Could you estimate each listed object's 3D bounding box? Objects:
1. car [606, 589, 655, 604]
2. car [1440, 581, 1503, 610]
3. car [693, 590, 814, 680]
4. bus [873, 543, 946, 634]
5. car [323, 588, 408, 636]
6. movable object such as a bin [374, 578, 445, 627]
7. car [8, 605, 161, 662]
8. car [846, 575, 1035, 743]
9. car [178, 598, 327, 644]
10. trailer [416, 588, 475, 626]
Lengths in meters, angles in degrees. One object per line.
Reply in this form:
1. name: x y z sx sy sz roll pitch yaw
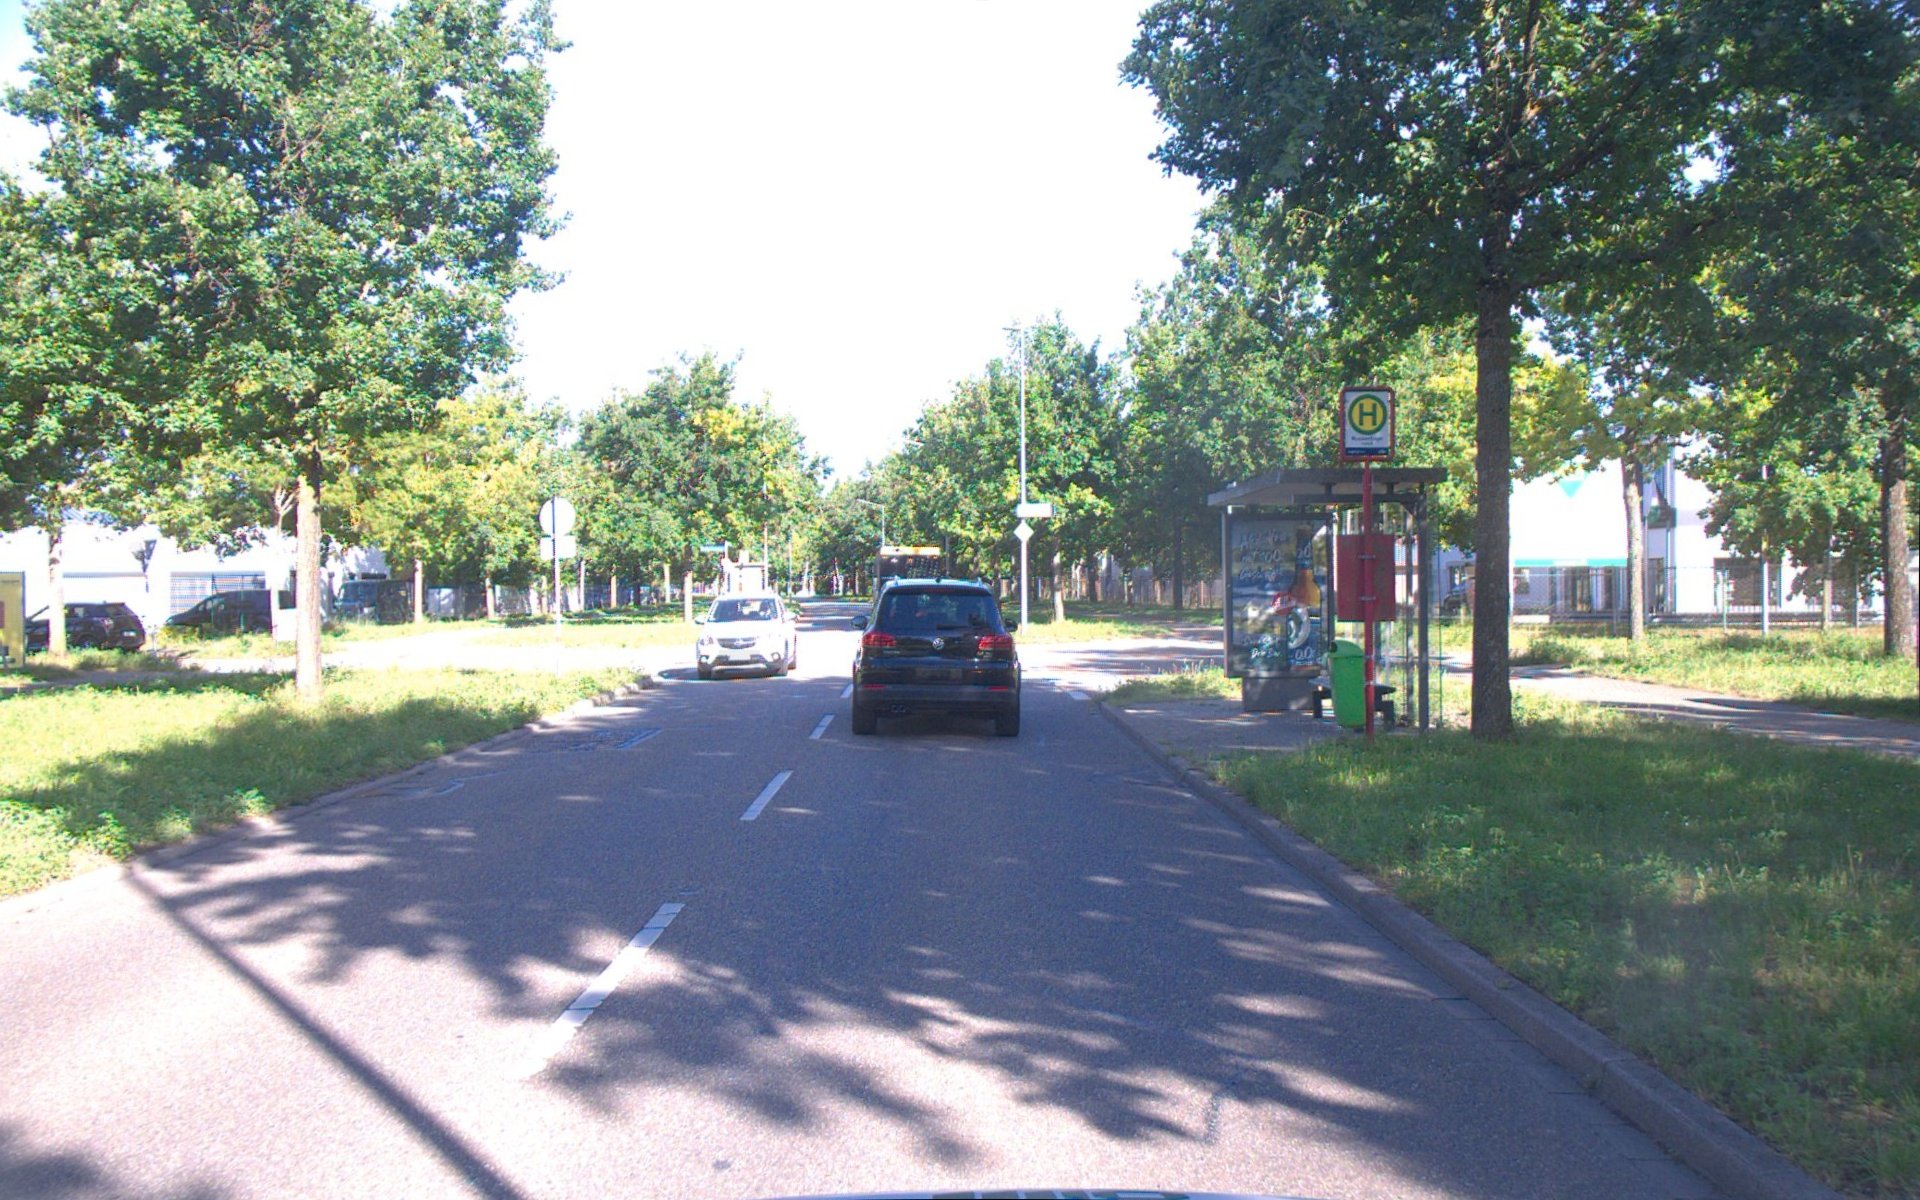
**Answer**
1. car: -30.713 -0.352 154.082 4.111 1.344 1.941 -1 0 1
2. car: 25.843 -0.260 83.675 1.731 1.408 3.763 -1 1 -6
3. car: -3.776 0.595 30.947 1.708 1.490 4.426 -1 1 -1
4. bus: -2.262 -0.504 70.176 2.709 3.517 11.203 -1 1 -4
5. car: -26.443 0.511 73.808 1.995 2.023 5.802 -1 0 -4
6. movable object such as a bin: -26.541 0.109 79.939 2.060 2.255 4.458 -1 1 -2
7. car: -25.293 0.955 47.843 3.591 1.559 1.824 -1 0 13
8. car: -0.218 0.576 19.044 1.896 1.685 4.426 1 1 -1
9. car: -25.077 0.719 58.712 4.410 1.505 1.940 -1 0 -2
10. trailer: -27.052 0.346 87.055 2.060 1.948 3.739 -1 1 -2
